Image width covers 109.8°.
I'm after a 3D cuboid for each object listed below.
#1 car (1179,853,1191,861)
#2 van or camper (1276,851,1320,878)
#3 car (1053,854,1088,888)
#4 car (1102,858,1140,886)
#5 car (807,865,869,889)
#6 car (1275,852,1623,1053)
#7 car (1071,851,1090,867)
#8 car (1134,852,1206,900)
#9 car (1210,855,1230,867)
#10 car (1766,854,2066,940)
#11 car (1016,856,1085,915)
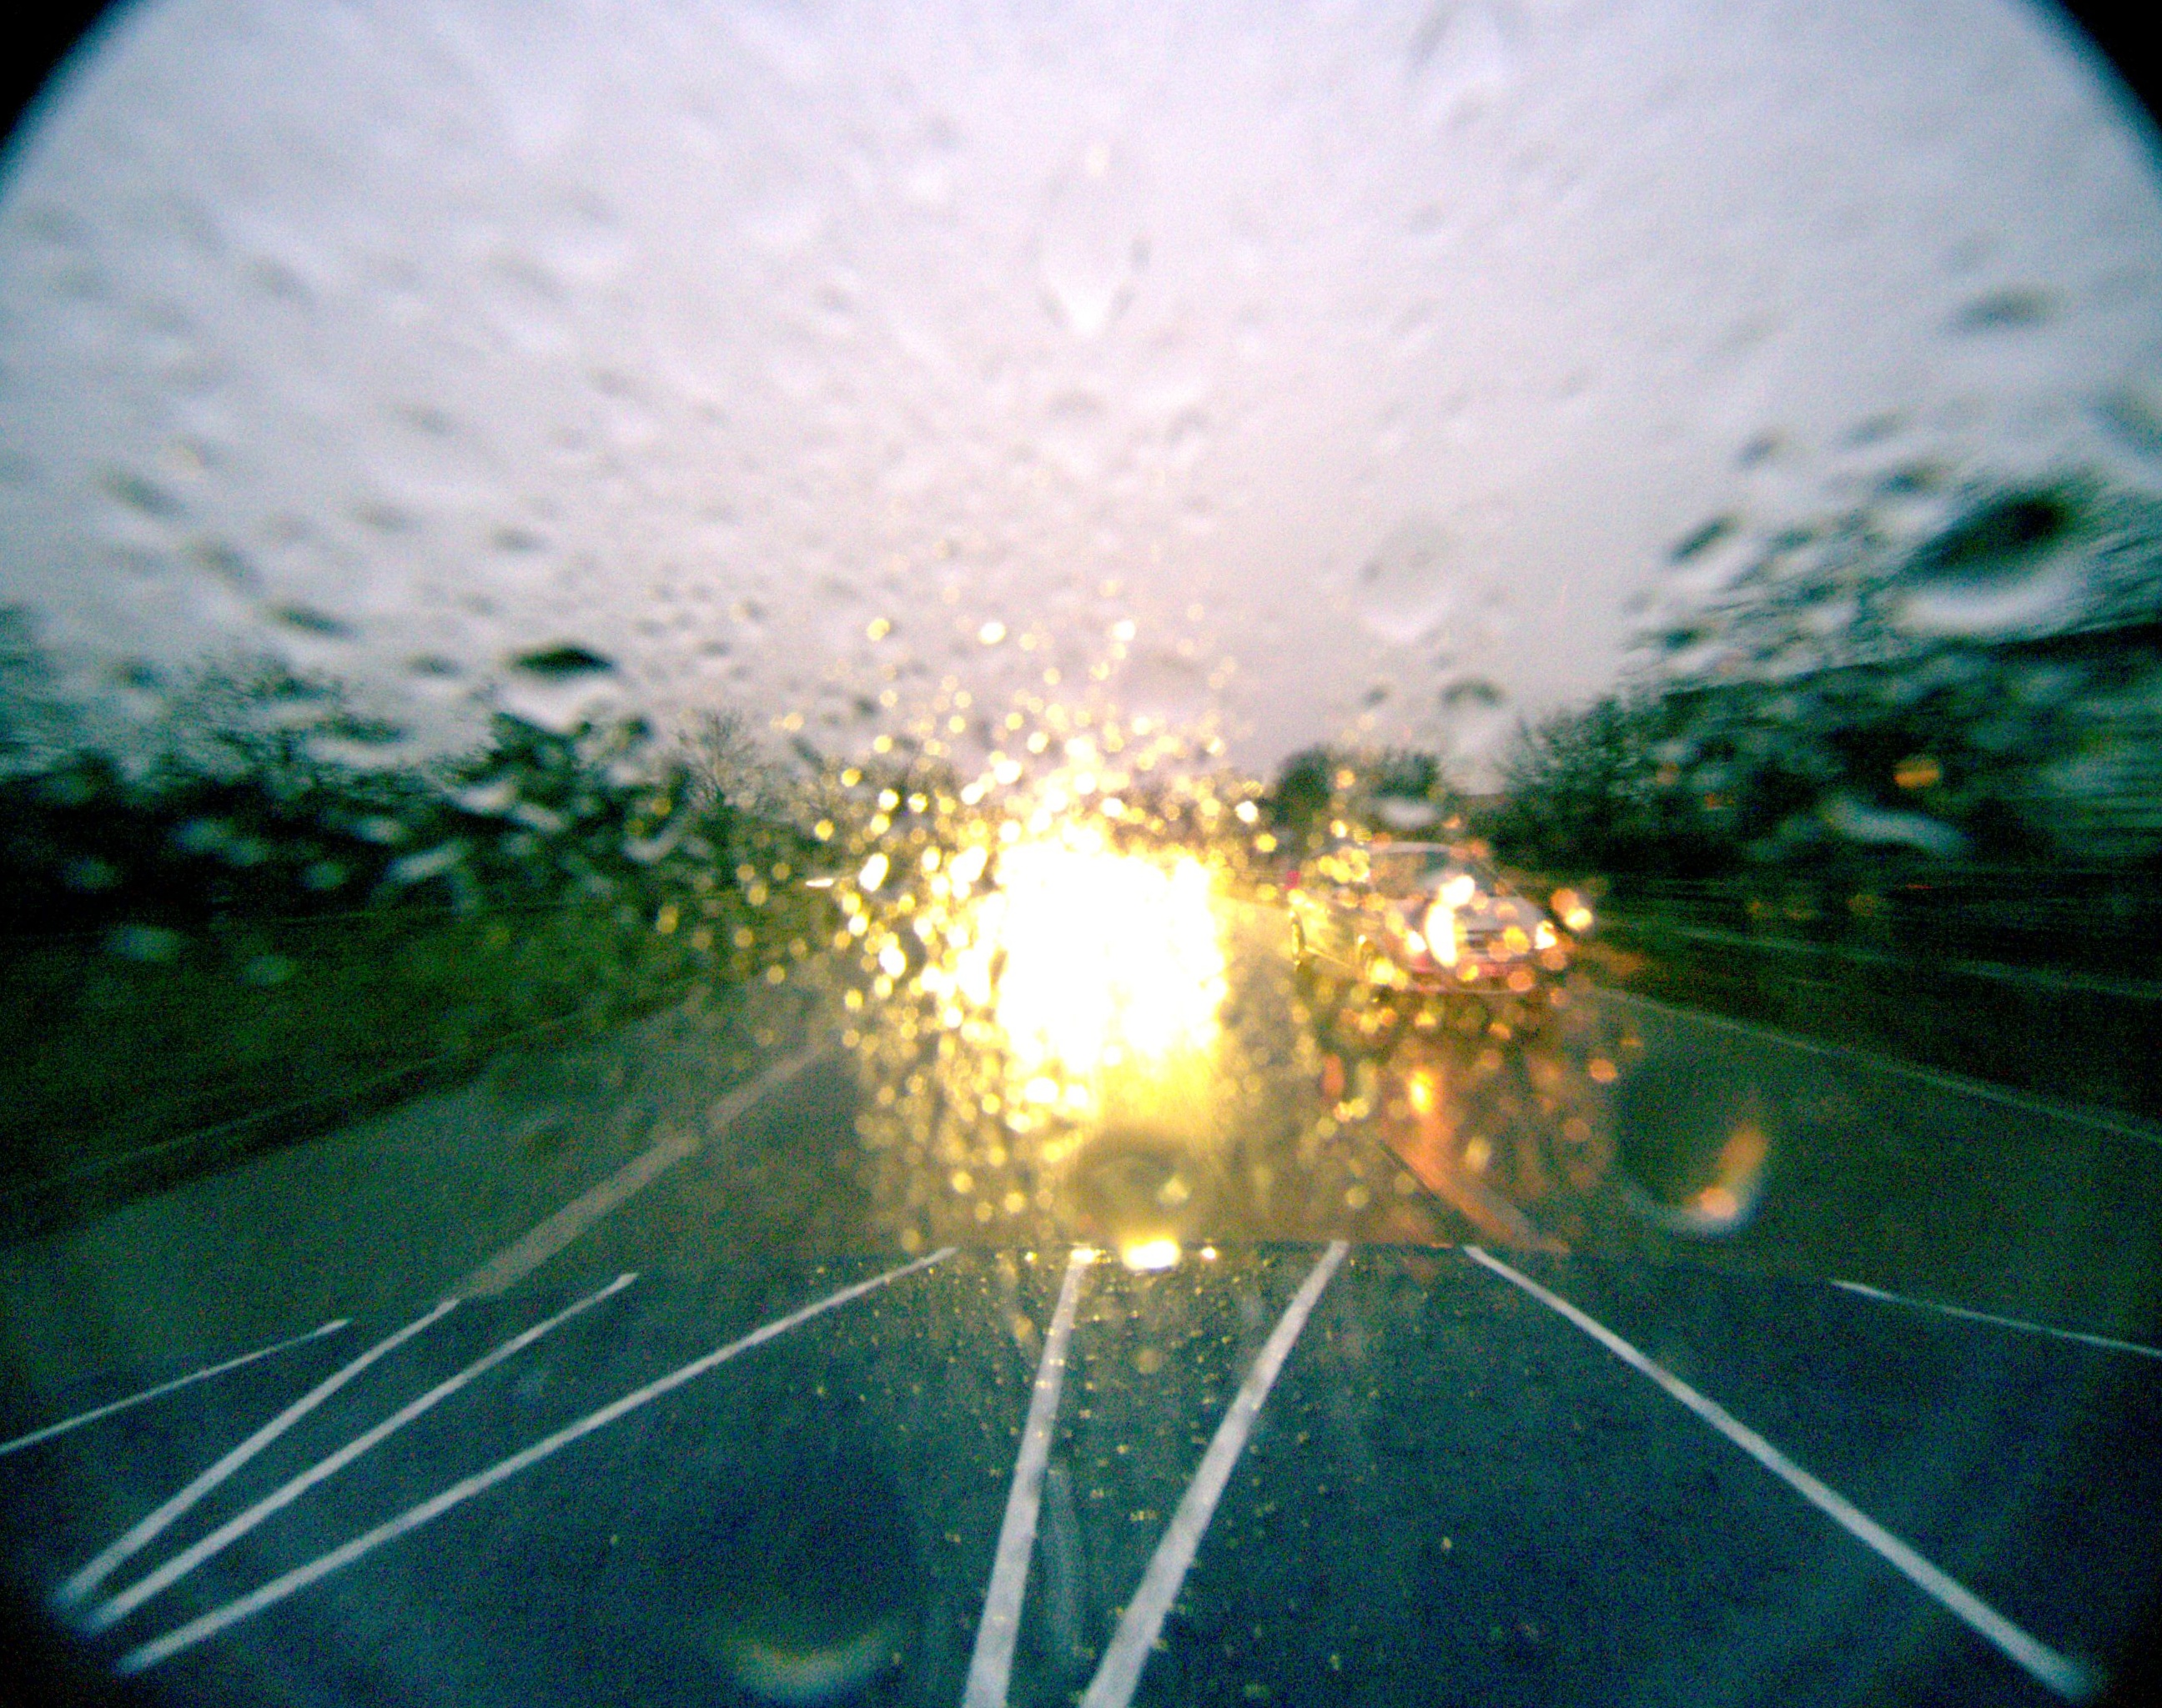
[{"bbox_3d":[21.597,0.684,158.313,1.788,1.599,4.681,-1,1,0],"label":"car"},{"bbox_3d":[13.048,0.597,45.930,1.530,1.473,4.434,-2,0,3],"label":"van or camper"},{"bbox_3d":[-0.491,0.848,39.677,1.728,1.573,3.790,-1,1,1],"label":"car"},{"bbox_3d":[2.129,0.931,41.232,1.697,1.327,3.999,-2,1,-1],"label":"car"},{"bbox_3d":[-15.640,1.464,49.100,1.725,1.426,3.796,-1,1,22],"label":"car"},{"bbox_3d":[3.562,0.805,8.329,1.766,1.590,4.164,-1,1,-1],"label":"car"},{"bbox_3d":[-0.104,0.524,83.628,1.853,1.610,3.950,-2,1,-2],"label":"car"},{"bbox_3d":[3.140,0.730,27.602,2.027,1.521,4.144,-1,1,-1],"label":"car"},{"bbox_3d":[18.292,0.881,99.982,1.788,1.524,4.052,-1,1,0],"label":"car"},{"bbox_3d":[15.654,0.719,14.572,1.760,1.401,3.638,-1,0,0],"label":"car"},{"bbox_3d":[-0.825,0.868,22.618,1.830,1.524,3.999,-1,1,1],"label":"car"}]
